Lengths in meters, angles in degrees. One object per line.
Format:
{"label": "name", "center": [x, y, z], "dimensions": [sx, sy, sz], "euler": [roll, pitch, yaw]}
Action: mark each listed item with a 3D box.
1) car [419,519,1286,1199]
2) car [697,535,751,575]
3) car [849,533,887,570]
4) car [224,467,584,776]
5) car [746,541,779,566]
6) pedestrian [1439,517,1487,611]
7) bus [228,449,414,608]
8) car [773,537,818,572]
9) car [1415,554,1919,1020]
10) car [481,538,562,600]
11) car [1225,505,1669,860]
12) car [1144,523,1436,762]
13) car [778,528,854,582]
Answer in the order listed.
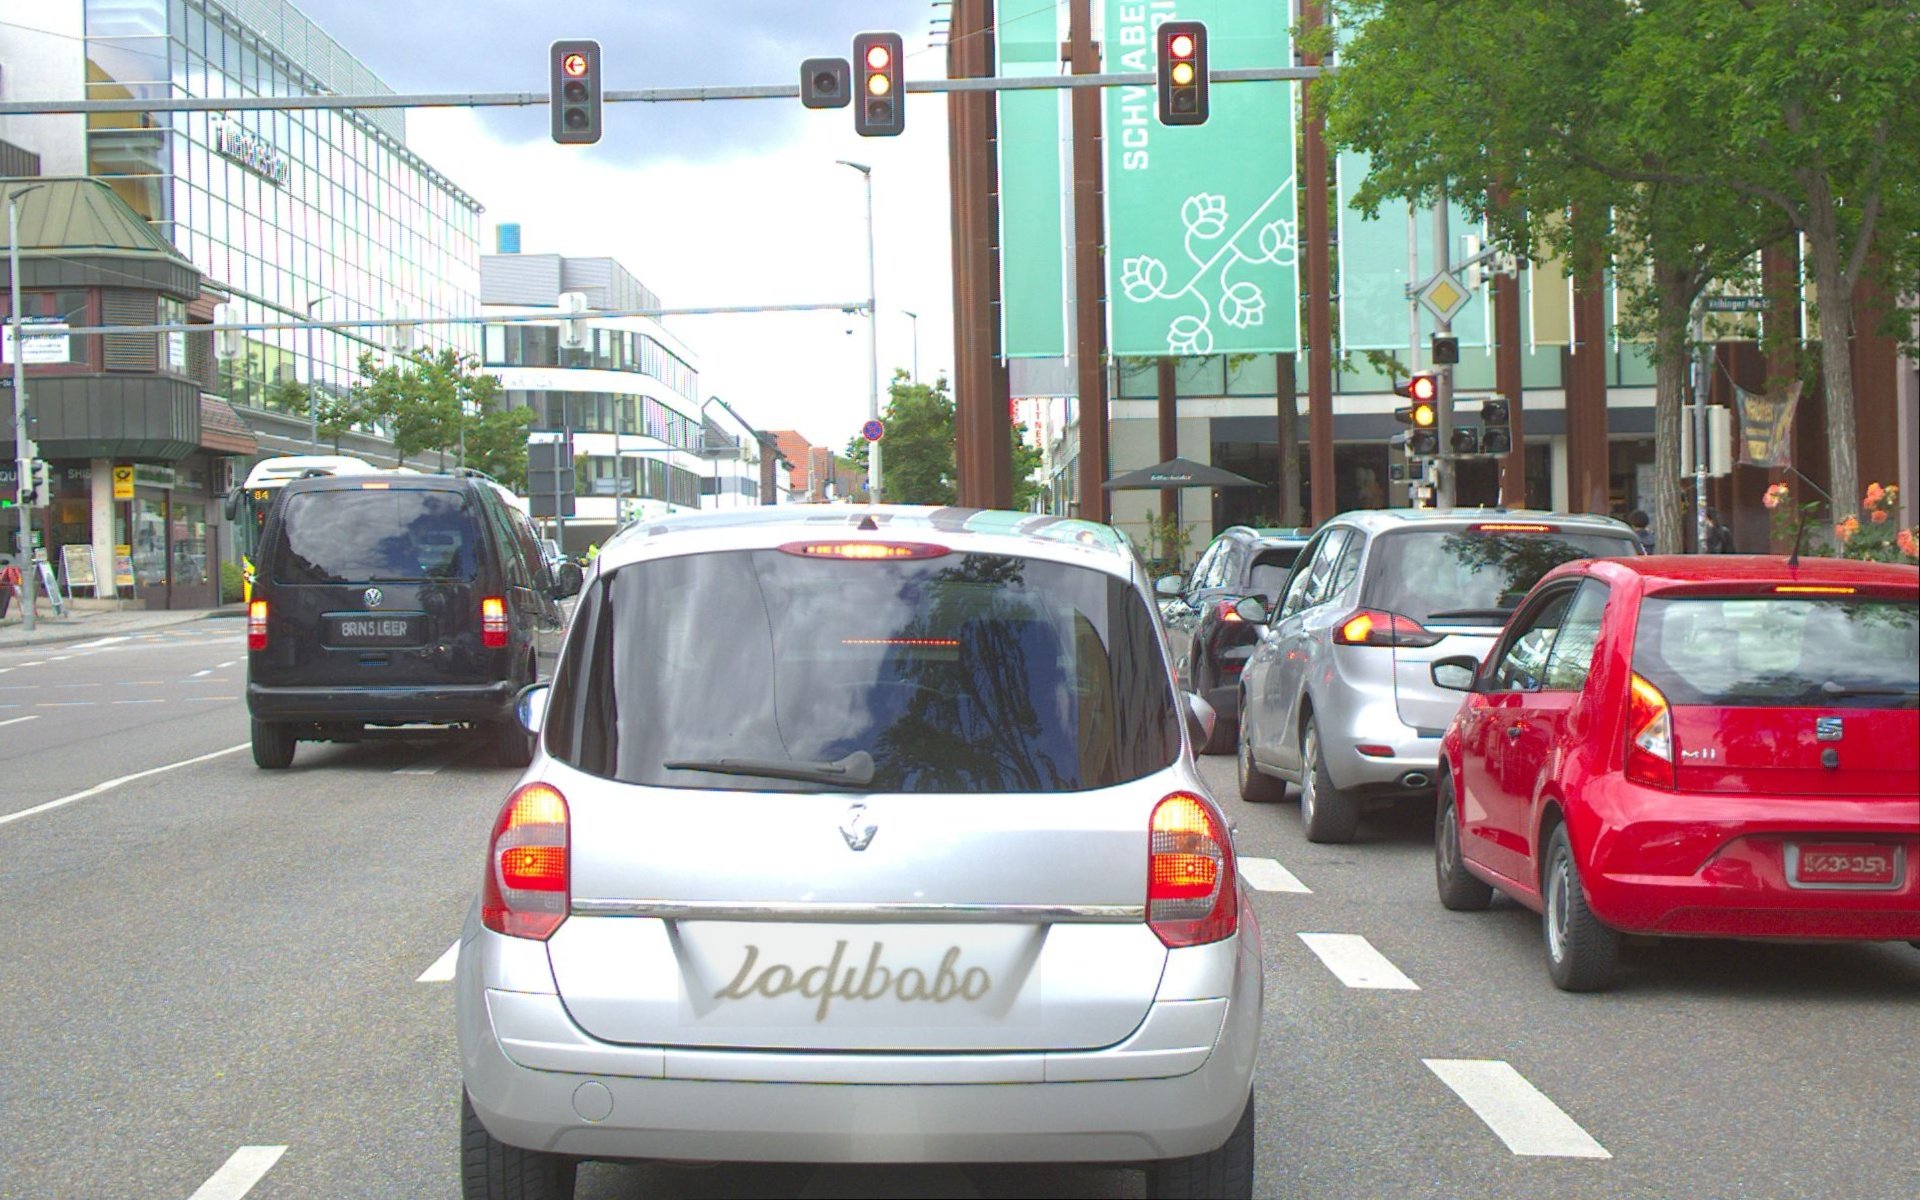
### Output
{"label": "car", "center": [-0.232, 0.578, 8.240], "dimensions": [1.640, 1.522, 3.394], "euler": [0, 1, -1]}
{"label": "car", "center": [-9.424, -1.809, 137.573], "dimensions": [1.801, 1.535, 4.065], "euler": [0, 1, 1]}
{"label": "car", "center": [-4.962, -2.633, 184.287], "dimensions": [1.993, 1.942, 4.951], "euler": [-1, 1, -2]}
{"label": "car", "center": [-3.610, 0.086, 23.088], "dimensions": [1.744, 1.849, 4.634], "euler": [1, 1, -1]}
{"label": "car", "center": [-12.480, -2.970, 217.541], "dimensions": [1.801, 1.535, 4.065], "euler": [0, 1, 1]}
{"label": "pedestrian", "center": [8.881, -0.643, 60.662], "dimensions": [0.651, 1.645, 0.559], "euler": [-1, 1, -15]}
{"label": "bus", "center": [-13.834, -1.569, 75.089], "dimensions": [2.686, 3.250, 8.654], "euler": [-1, 1, -2]}
{"label": "car", "center": [-7.533, -2.085, 157.413], "dimensions": [1.801, 1.535, 4.065], "euler": [0, 1, 1]}
{"label": "car", "center": [2.711, 0.575, 12.572], "dimensions": [1.586, 1.438, 3.348], "euler": [1, 1, -1]}
{"label": "car", "center": [-10.172, -0.743, 79.915], "dimensions": [1.555, 1.387, 3.288], "euler": [-1, 1, -2]}
{"label": "car", "center": [2.422, 0.349, 17.980], "dimensions": [1.586, 1.628, 3.917], "euler": [1, 1, -2]}
{"label": "car", "center": [2.334, 0.250, 25.154], "dimensions": [1.586, 1.589, 3.868], "euler": [1, 1, -2]}
{"label": "car", "center": [-4.551, -1.446, 109.238], "dimensions": [1.917, 1.671, 4.242], "euler": [-1, 1, 4]}
